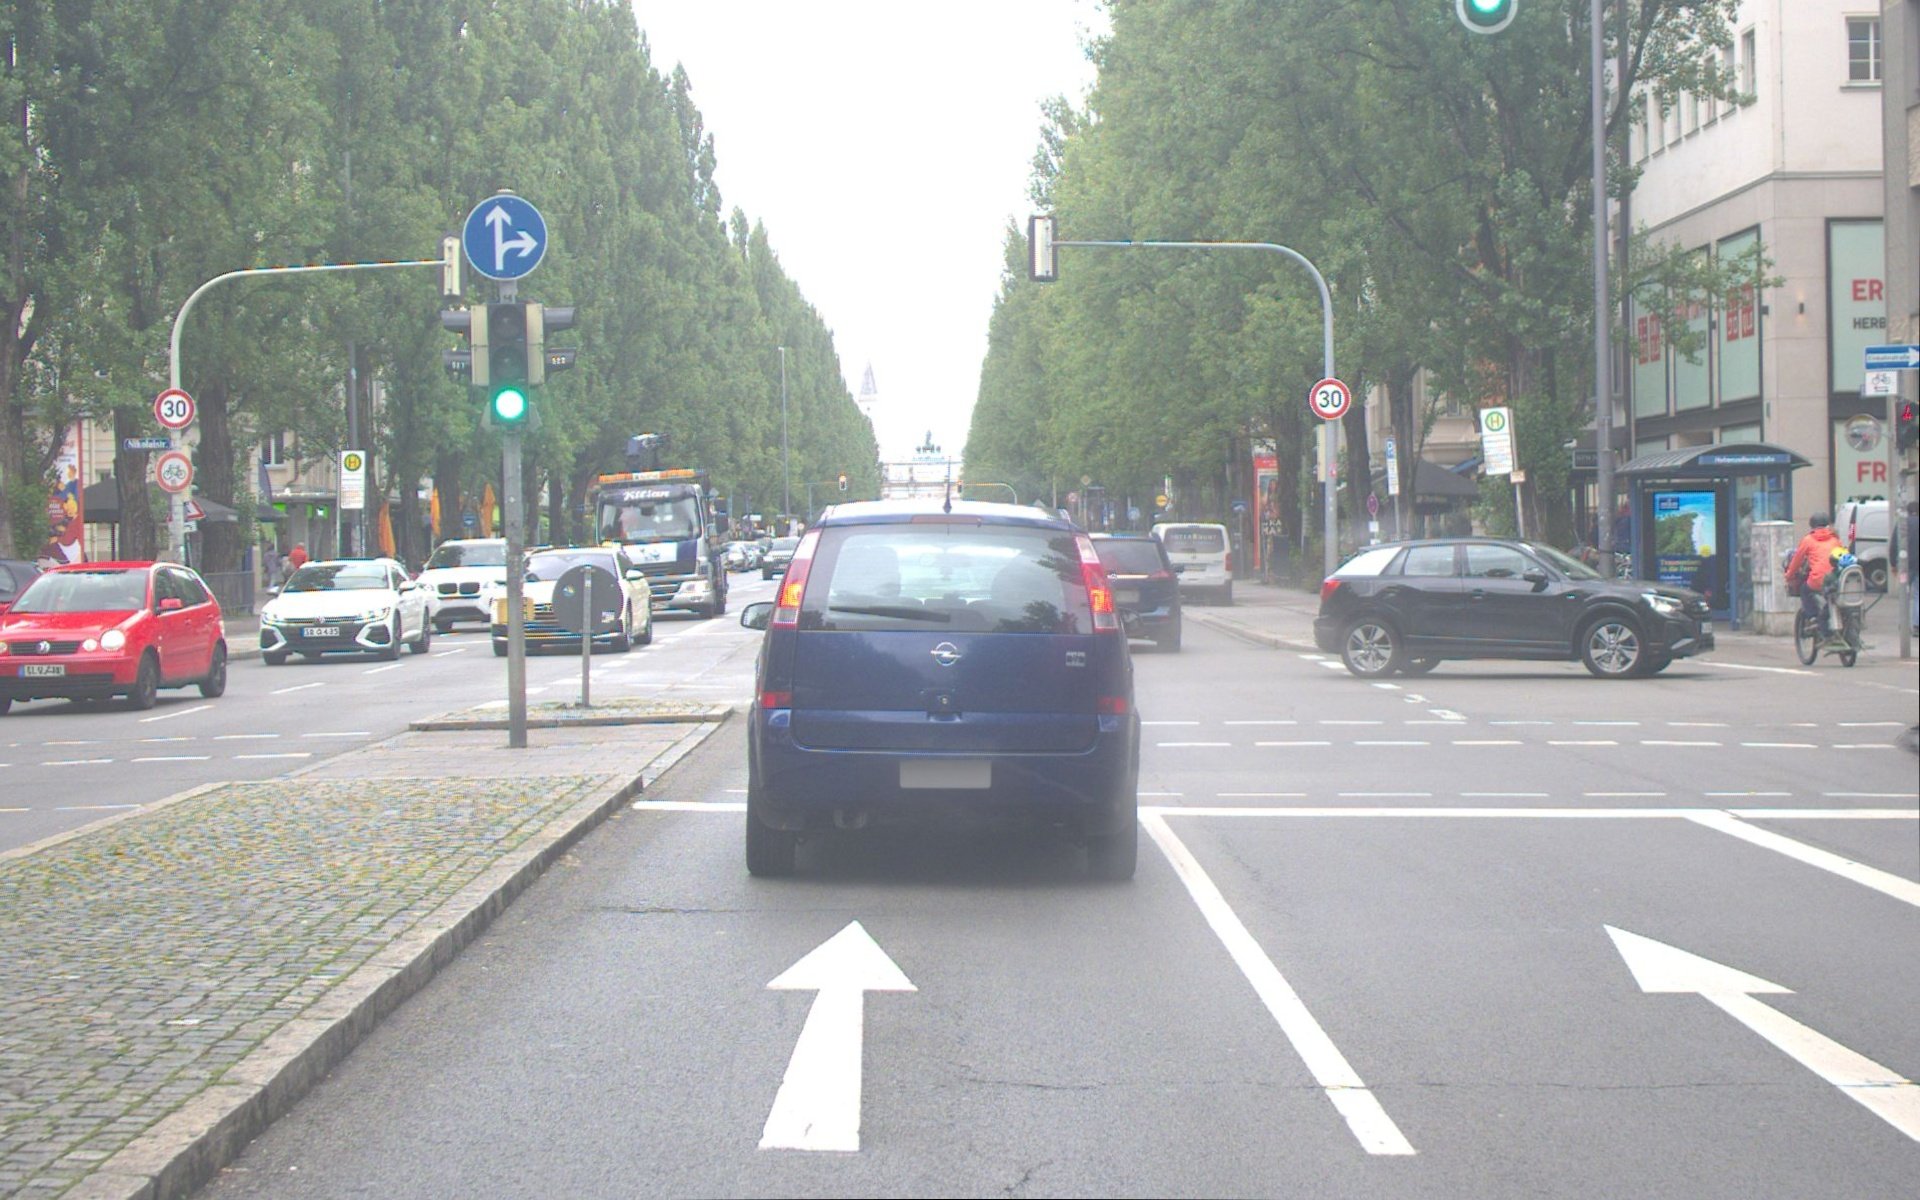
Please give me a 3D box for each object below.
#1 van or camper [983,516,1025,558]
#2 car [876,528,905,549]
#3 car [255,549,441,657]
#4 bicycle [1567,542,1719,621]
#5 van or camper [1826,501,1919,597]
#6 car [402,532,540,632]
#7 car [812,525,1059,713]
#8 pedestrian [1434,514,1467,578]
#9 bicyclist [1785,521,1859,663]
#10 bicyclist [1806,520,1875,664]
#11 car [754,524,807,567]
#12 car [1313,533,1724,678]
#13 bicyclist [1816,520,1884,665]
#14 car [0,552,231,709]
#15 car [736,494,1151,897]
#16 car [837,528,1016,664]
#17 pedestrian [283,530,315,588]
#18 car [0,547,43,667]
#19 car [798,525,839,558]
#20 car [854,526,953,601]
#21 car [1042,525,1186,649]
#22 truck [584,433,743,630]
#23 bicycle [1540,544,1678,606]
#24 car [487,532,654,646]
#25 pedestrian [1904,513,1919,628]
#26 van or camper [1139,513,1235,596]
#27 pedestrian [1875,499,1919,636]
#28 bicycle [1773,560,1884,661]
[{"bbox_3d":[2.764,-3.981,217.489,2.477,2.572,5.844,-1,1,0],"label":"van or camper"},{"bbox_3d":[-4.868,-4.314,240.162,1.961,1.394,3.779,-1,1,-1],"label":"car"},{"bbox_3d":[-8.638,0.011,48.887,1.823,1.403,4.633,-2,1,-1],"label":"car"},{"bbox_3d":[11.152,-0.310,56.182,2.343,1.248,0.633,-1,1,0],"label":"bicycle"},{"bbox_3d":[19.353,-0.990,67.803,4.105,1.860,1.898,1,1,4],"label":"van or camper"},{"bbox_3d":[-8.976,-0.364,63.410,1.837,1.710,4.636,-2,1,0],"label":"car"},{"bbox_3d":[-0.245,0.110,29.975,1.993,1.492,4.000,-1,1,-1],"label":"car"},{"bbox_3d":[14.261,-1.575,99.938,0.826,1.834,1.099,-1,1,2],"label":"pedestrian"},{"bbox_3d":[9.774,-0.100,39.010,0.621,1.583,0.753,-1,1,-1],"label":"bicyclist"},{"bbox_3d":[9.795,-0.090,38.252,0.621,1.583,0.481,-1,1,-1],"label":"bicyclist"},{"bbox_3d":[-7.197,-2.200,137.954,1.913,1.675,4.586,-1,1,-1],"label":"car"},{"bbox_3d":[5.954,0.051,36.668,3.992,1.456,1.757,0,1,25],"label":"car"},{"bbox_3d":[9.797,-0.085,37.867,0.621,1.583,0.391,-1,1,-1],"label":"bicyclist"},{"bbox_3d":[-8.535,0.268,34.219,1.736,1.432,3.824,-2,1,0],"label":"car"},{"bbox_3d":[-0.116,0.345,15.944,1.681,1.635,4.000,0,1,-1],"label":"car"},{"bbox_3d":[-0.421,-0.084,40.576,1.993,1.492,4.000,-1,1,-1],"label":"car"},{"bbox_3d":[-19.291,-1.206,100.325,0.734,1.667,0.952,-1,1,0],"label":"pedestrian"},{"bbox_3d":[-13.422,0.111,42.890,3.690,1.470,1.773,-1,1,-19],"label":"car"},{"bbox_3d":[-7.189,-2.988,174.511,1.935,1.618,4.337,-1,1,-1],"label":"car"},{"bbox_3d":[-1.198,-0.786,72.264,1.993,1.492,4.000,-1,1,-1],"label":"car"},{"bbox_3d":[2.079,-0.214,47.291,1.706,1.568,4.001,-1,2,-1],"label":"car"},{"bbox_3d":[-5.840,-1.378,68.842,2.463,3.657,8.440,-1,1,0],"label":"truck"},{"bbox_3d":[10.912,-0.426,57.834,2.148,1.013,0.874,-1,1,0],"label":"bicycle"},{"bbox_3d":[-5.543,-0.202,49.448,1.843,1.496,4.986,-2,1,-1],"label":"car"},{"bbox_3d":[14.326,-0.443,50.309,0.750,1.671,0.963,-1,1,1],"label":"pedestrian"},{"bbox_3d":[5.311,-1.084,80.830,1.868,1.876,4.903,0,1,-1],"label":"van or camper"},{"bbox_3d":[12.840,-0.442,46.226,0.818,1.811,0.891,-1,1,-2],"label":"pedestrian"},{"bbox_3d":[9.786,0.101,38.802,0.626,1.083,2.264,-1,1,-1],"label":"bicycle"}]
